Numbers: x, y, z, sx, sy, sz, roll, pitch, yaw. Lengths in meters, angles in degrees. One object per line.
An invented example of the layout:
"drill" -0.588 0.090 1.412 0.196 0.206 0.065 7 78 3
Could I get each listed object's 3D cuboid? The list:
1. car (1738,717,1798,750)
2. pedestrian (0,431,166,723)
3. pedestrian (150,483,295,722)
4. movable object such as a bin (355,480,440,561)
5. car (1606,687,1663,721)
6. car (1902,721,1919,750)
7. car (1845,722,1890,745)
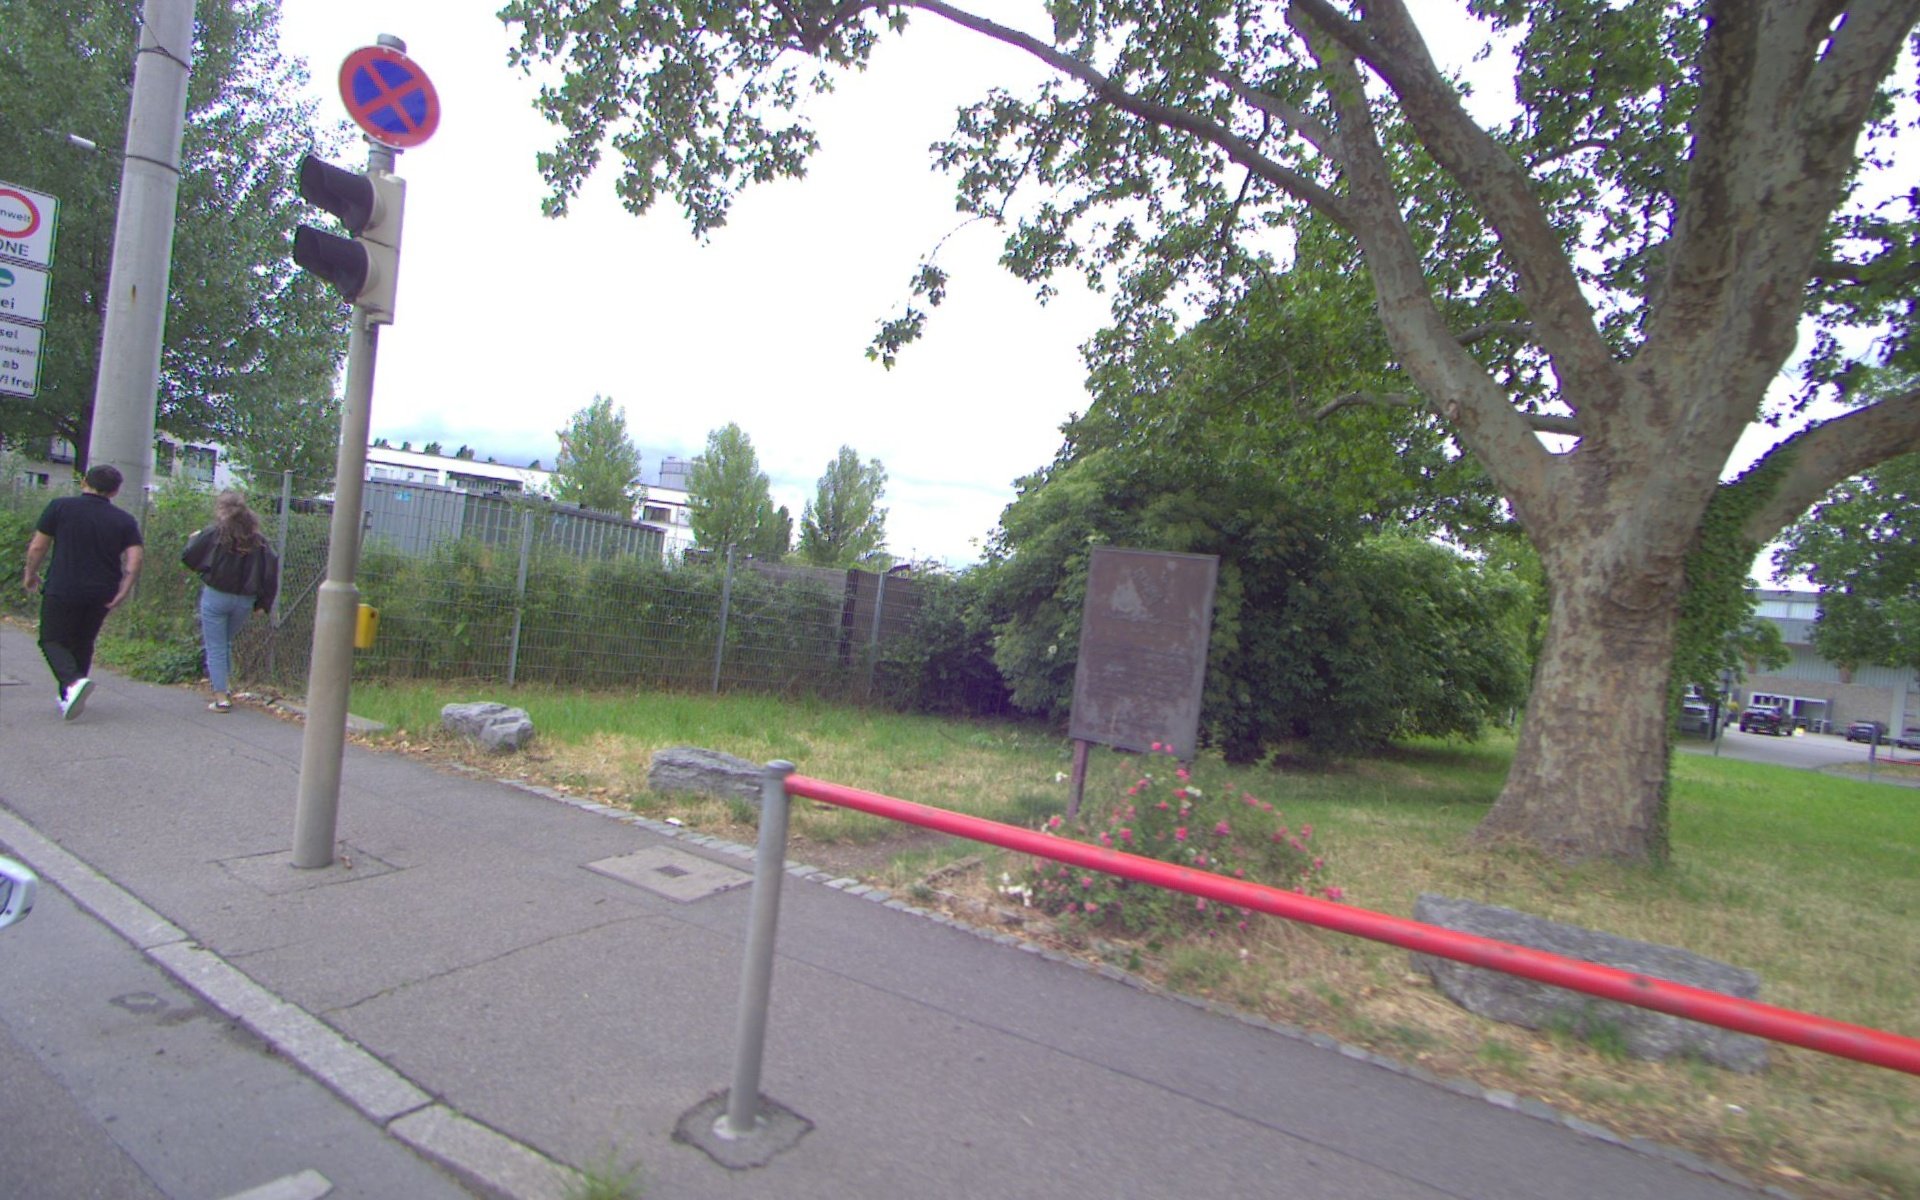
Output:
"car" 46.553 7.689 57.947 3.972 1.526 1.894 7 0 -41
"pedestrian" -6.032 -0.156 6.912 0.661 1.891 0.602 7 1 34
"pedestrian" -5.580 0.022 7.623 0.661 1.710 0.602 3 -1 34
"movable object such as a bin" -17.703 -2.406 31.576 1.979 2.038 4.261 5 -2 -33
"car" 42.852 6.593 63.892 3.972 1.721 1.894 7 0 -41
"car" 61.966 8.722 64.613 3.544 1.704 1.735 6 -2 -41
"car" 60.160 8.815 66.651 3.544 1.331 1.735 6 -2 -41
